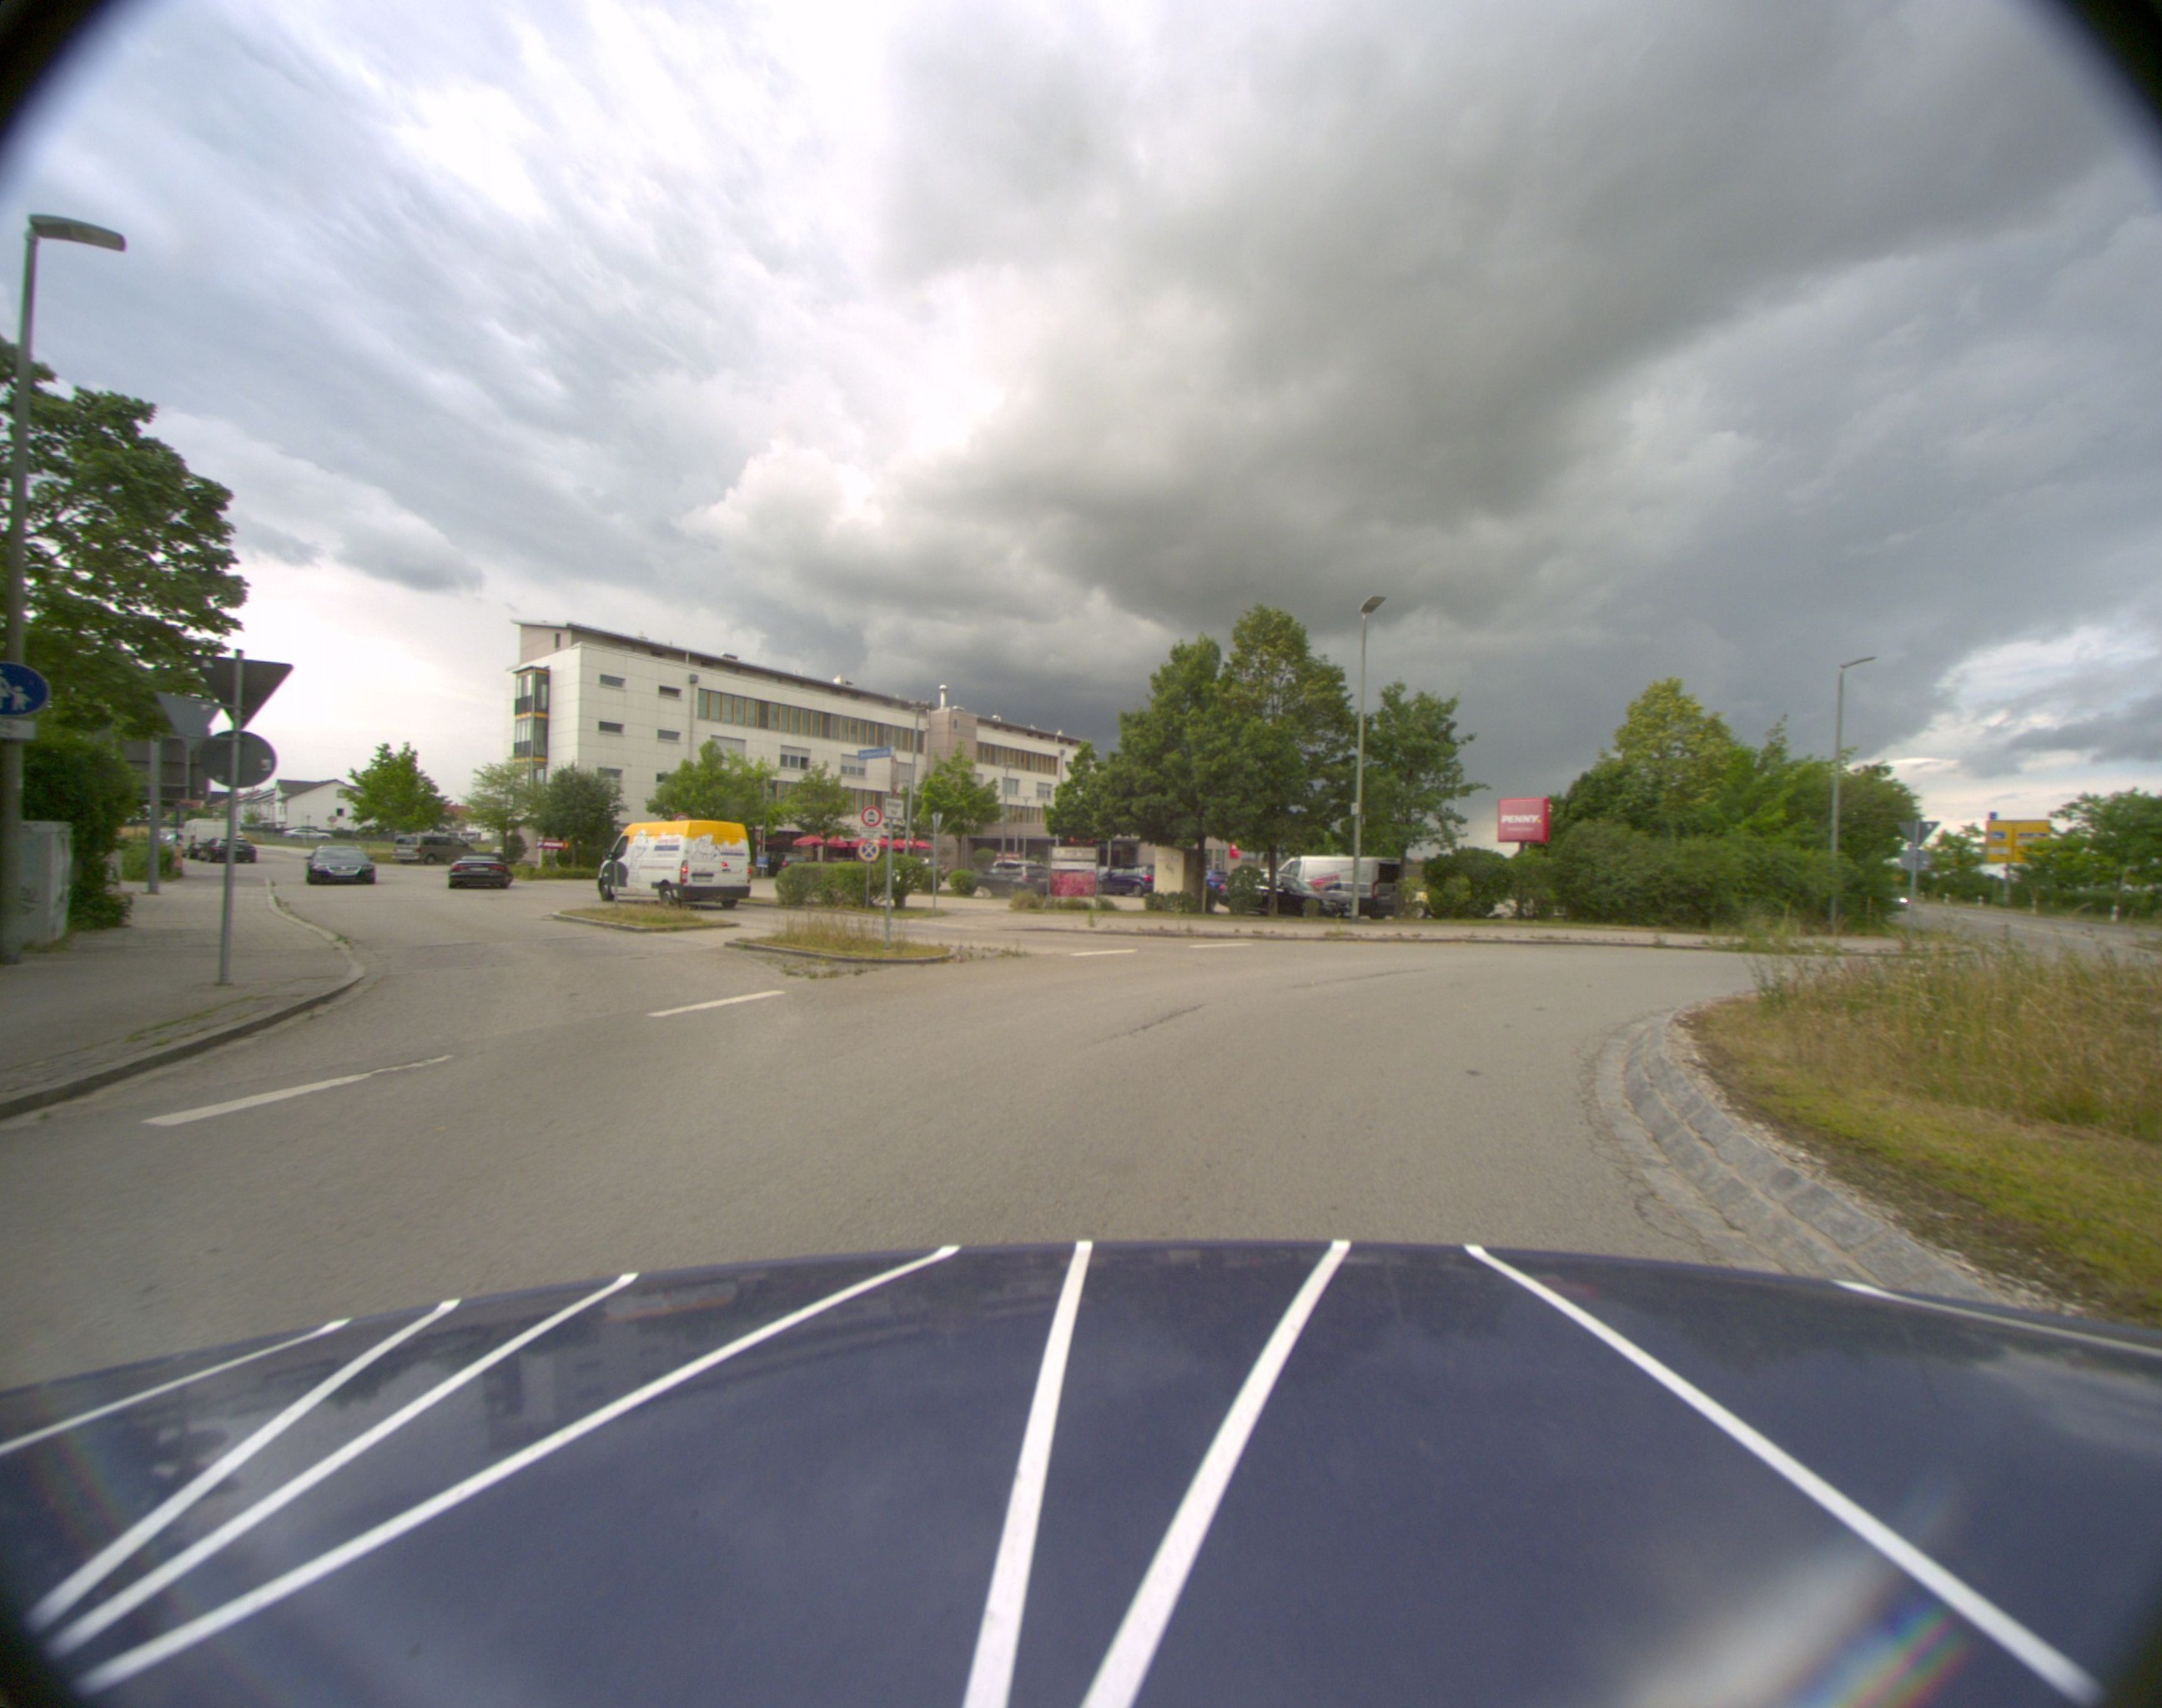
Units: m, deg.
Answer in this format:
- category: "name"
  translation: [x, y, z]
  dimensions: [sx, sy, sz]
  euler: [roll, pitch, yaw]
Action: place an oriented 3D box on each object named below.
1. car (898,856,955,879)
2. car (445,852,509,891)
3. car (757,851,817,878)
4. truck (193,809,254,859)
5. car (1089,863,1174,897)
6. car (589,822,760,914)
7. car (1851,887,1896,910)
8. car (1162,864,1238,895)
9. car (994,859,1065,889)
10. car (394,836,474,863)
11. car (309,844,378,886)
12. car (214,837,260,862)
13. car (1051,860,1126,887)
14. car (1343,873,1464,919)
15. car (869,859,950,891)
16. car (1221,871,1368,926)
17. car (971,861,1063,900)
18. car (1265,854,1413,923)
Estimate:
- category: "car"
  translation: [-10.420, 0.882, 50.993]
  dimensions: [3.988, 1.448, 1.825]
  euler: [1, 0, 45]
- category: "car"
  translation: [-23.026, 0.623, 28.967]
  dimensions: [1.805, 1.324, 3.988]
  euler: [1, 0, -39]
- category: "car"
  translation: [-17.622, 0.605, 45.485]
  dimensions: [3.988, 1.448, 1.825]
  euler: [1, 0, 45]
- category: "truck"
  translation: [-54.919, -1.204, 48.636]
  dimensions: [5.395, 3.058, 2.174]
  euler: [0, 0, 37]
- category: "car"
  translation: [2.414, 1.231, 37.146]
  dimensions: [1.825, 1.533, 3.988]
  euler: [1, 0, -42]
- category: "car"
  translation: [-12.114, 0.347, 22.488]
  dimensions: [5.425, 2.437, 2.174]
  euler: [1, 0, 35]
- category: "car"
  translation: [53.578, 2.959, 51.416]
  dimensions: [1.685, 1.341, 3.848]
  euler: [2, 0, 41]
- category: "car"
  translation: [6.276, 1.329, 40.375]
  dimensions: [1.663, 1.495, 3.781]
  euler: [1, 0, -42]
- category: "car"
  translation: [-2.748, 1.070, 39.877]
  dimensions: [1.879, 1.501, 4.077]
  euler: [1, -2, -36]
- category: "car"
  translation: [-43.150, -0.326, 50.798]
  dimensions: [1.652, 1.722, 4.002]
  euler: [0, 0, 6]
- category: "car"
  translation: [-28.702, 0.389, 29.546]
  dimensions: [3.988, 1.455, 1.805]
  euler: [2, 0, 44]
- category: "car"
  translation: [-49.316, -0.264, 44.379]
  dimensions: [3.500, 1.371, 1.545]
  euler: [1, 1, 38]
- category: "car"
  translation: [0.424, 1.160, 44.386]
  dimensions: [4.076, 1.529, 1.784]
  euler: [-2, -2, 36]
- category: "car"
  translation: [12.539, 1.593, 29.674]
  dimensions: [1.767, 1.547, 3.926]
  euler: [2, 0, -40]
- category: "car"
  translation: [-8.036, 0.961, 35.492]
  dimensions: [3.988, 1.448, 1.825]
  euler: [-1, -1, 45]
- category: "car"
  translation: [6.944, 1.398, 25.125]
  dimensions: [1.767, 1.484, 4.403]
  euler: [2, 0, -40]
- category: "car"
  translation: [-2.756, 1.061, 32.077]
  dimensions: [1.825, 1.448, 3.988]
  euler: [1, 0, -42]
- category: "car"
  translation: [9.009, 1.140, 26.847]
  dimensions: [2.161, 2.146, 4.403]
  euler: [2, 0, -40]
